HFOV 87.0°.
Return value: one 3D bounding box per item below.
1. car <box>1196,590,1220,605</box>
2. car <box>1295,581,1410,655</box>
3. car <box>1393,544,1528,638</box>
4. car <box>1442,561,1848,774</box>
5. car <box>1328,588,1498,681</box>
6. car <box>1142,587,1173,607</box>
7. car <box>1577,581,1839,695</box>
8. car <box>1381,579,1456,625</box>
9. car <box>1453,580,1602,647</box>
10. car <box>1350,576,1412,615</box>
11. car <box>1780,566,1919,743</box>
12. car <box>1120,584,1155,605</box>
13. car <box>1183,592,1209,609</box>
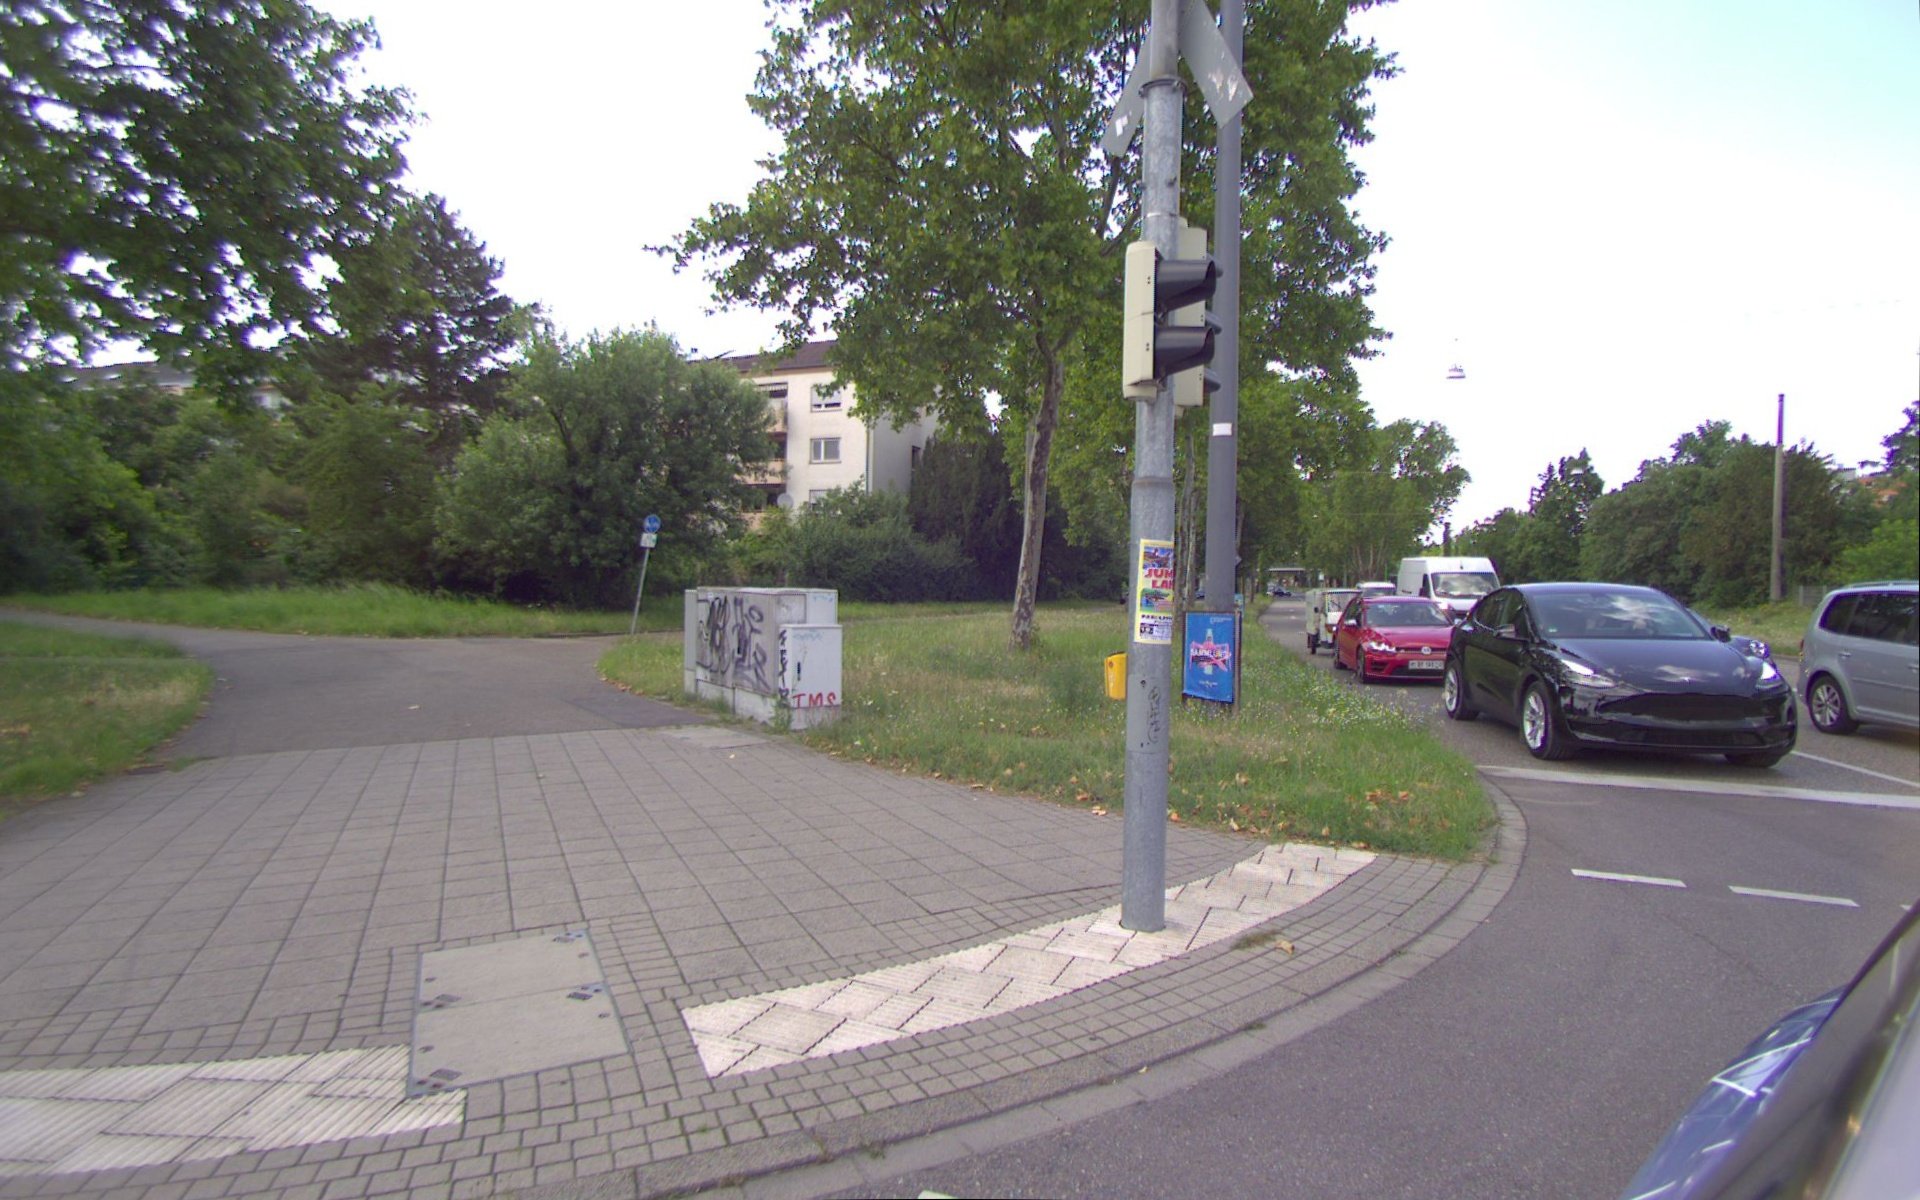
[{"bbox_3d":[27.259,-0.266,111.020,1.760,1.616,3.620,1,-1,27],"label":"car"},{"bbox_3d":[9.252,0.354,24.195,1.774,1.589,4.487,-1,1,11],"label":"car"},{"bbox_3d":[15.038,-0.288,30.845,2.193,2.561,5.914,-1,1,11],"label":"car"},{"bbox_3d":[6.540,0.493,10.388,1.903,1.672,4.562,-1,1,13],"label":"car"},{"bbox_3d":[7.855,0.516,17.983,1.774,1.408,4.487,-1,1,11],"label":"car"},{"bbox_3d":[17.608,-0.264,90.089,1.760,1.616,3.620,1,-1,27],"label":"car"},{"bbox_3d":[11.326,0.488,15.697,1.777,1.527,3.985,-1,1,13],"label":"car"},{"bbox_3d":[17.372,0.029,38.523,1.816,1.638,4.140,0,1,13],"label":"car"},{"bbox_3d":[13.013,0.251,23.517,1.737,1.392,4.329,-1,1,11],"label":"car"},{"bbox_3d":[19.201,-0.246,46.313,1.737,1.667,4.329,1,1,11],"label":"car"},{"bbox_3d":[9.989,0.509,9.299,1.900,1.672,4.487,-1,1,11],"label":"car"},{"bbox_3d":[14.352,-0.448,81.628,1.760,1.616,3.620,1,-1,27],"label":"car"},{"bbox_3d":[24.182,0.066,103.805,1.760,1.616,3.620,1,-1,27],"label":"car"}]
